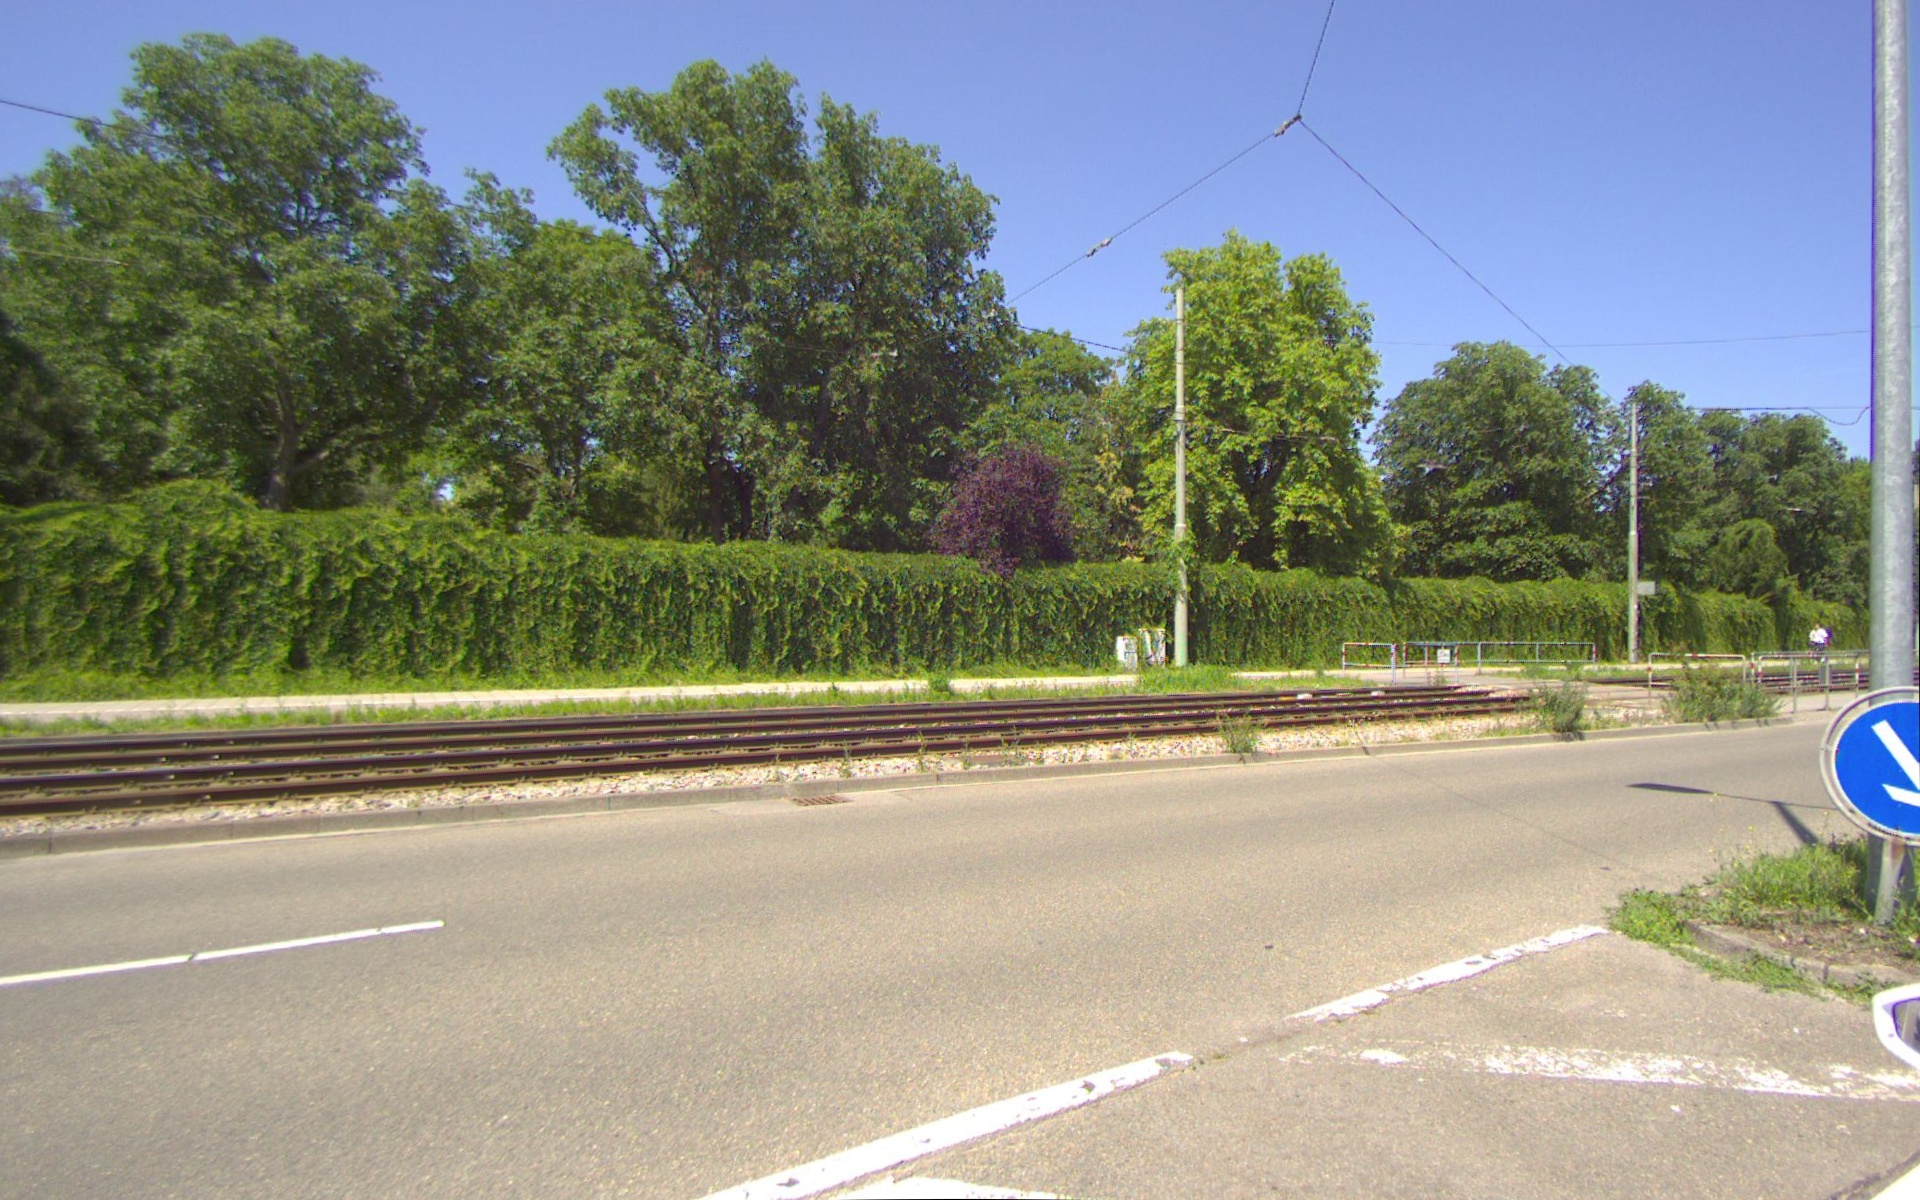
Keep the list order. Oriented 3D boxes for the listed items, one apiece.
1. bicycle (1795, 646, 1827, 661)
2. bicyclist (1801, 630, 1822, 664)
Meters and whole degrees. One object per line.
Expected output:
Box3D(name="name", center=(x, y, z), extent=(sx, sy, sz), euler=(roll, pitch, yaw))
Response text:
Box3D(name="bicycle", center=(38.161, 2.404, 45.057), extent=(1.699, 0.656, 0.558), euler=(1, -1, -30))
Box3D(name="bicyclist", center=(38.215, 2.091, 45.087), extent=(0.555, 1.497, 0.555), euler=(1, -1, -29))
